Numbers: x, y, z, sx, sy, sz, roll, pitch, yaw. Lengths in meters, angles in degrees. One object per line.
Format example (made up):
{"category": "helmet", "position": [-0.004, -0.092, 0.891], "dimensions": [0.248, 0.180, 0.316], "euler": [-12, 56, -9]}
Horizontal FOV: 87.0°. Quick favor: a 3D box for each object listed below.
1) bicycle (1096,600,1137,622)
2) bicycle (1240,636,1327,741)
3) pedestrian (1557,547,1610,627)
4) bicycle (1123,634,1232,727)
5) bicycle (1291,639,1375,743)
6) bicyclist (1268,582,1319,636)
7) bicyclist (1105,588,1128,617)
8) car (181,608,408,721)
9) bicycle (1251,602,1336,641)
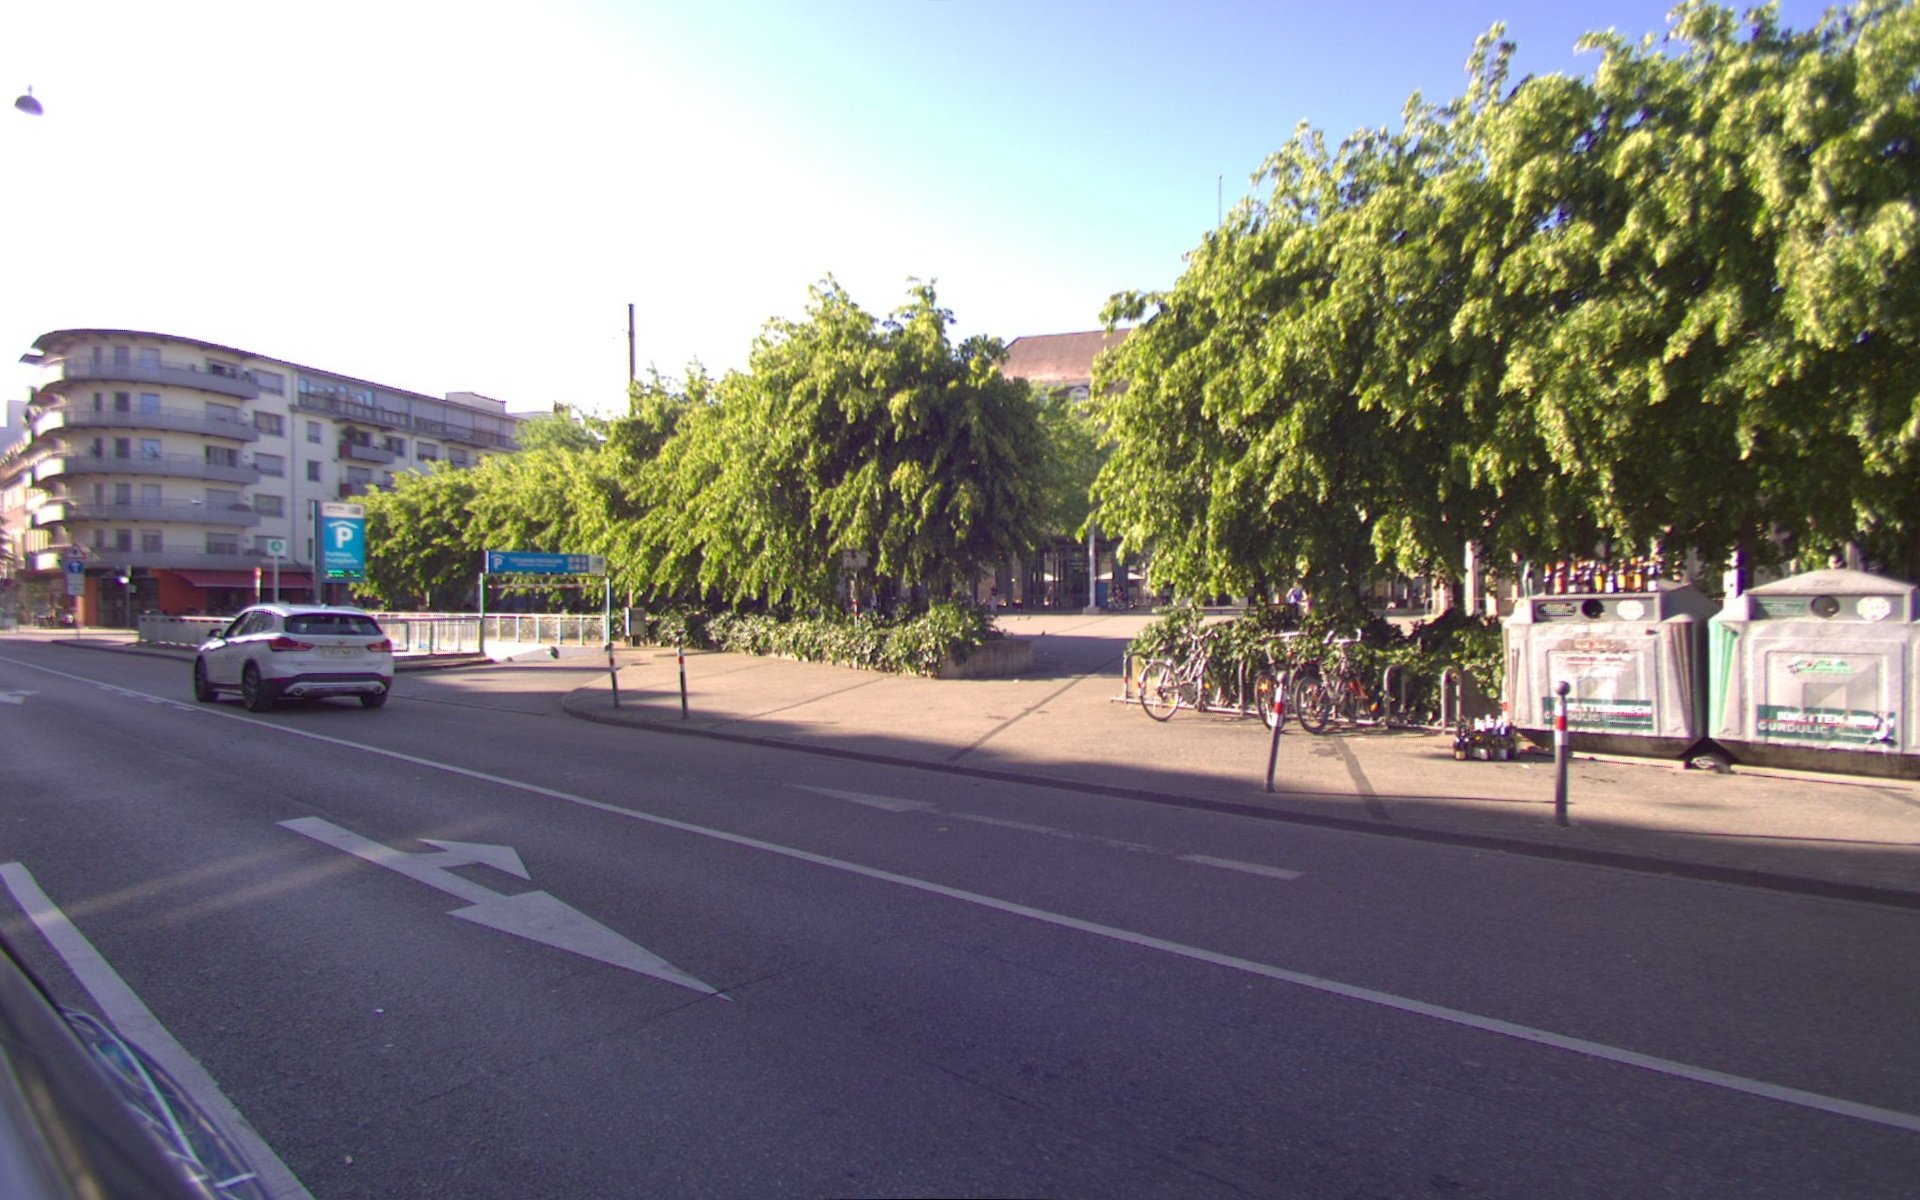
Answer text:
{"category": "bicycle", "position": [8.112, 0.582, 52.496], "dimensions": [2.087, 1.112, 0.699], "euler": [-1, 0, -29]}
{"category": "bicycle", "position": [3.635, 0.955, 11.320], "dimensions": [0.364, 1.039, 1.530], "euler": [-1, 0, 40]}
{"category": "pedestrian", "position": [24.026, -0.473, 38.984], "dimensions": [1.528, 3.001, 1.726], "euler": [-1, -1, 38]}
{"category": "bicycle", "position": [2.678, 0.961, 12.387], "dimensions": [1.506, 1.039, 0.365], "euler": [-1, 0, -35]}
{"category": "bicycle", "position": [4.126, 0.965, 11.150], "dimensions": [0.364, 1.010, 1.539], "euler": [-1, 0, 40]}
{"category": "bicyclist", "position": [10.317, 0.281, 31.306], "dimensions": [0.927, 1.620, 1.174], "euler": [0, 0, -31]}
{"category": "bicyclist", "position": [8.118, 0.108, 52.484], "dimensions": [0.936, 1.483, 0.649], "euler": [-1, 0, -30]}
{"category": "car", "position": [-10.621, 0.935, 16.035], "dimensions": [4.236, 1.559, 1.823], "euler": [-1, -2, 40]}
{"category": "bicycle", "position": [10.297, 0.647, 31.326], "dimensions": [0.927, 1.141, 2.486], "euler": [0, 0, -31]}
